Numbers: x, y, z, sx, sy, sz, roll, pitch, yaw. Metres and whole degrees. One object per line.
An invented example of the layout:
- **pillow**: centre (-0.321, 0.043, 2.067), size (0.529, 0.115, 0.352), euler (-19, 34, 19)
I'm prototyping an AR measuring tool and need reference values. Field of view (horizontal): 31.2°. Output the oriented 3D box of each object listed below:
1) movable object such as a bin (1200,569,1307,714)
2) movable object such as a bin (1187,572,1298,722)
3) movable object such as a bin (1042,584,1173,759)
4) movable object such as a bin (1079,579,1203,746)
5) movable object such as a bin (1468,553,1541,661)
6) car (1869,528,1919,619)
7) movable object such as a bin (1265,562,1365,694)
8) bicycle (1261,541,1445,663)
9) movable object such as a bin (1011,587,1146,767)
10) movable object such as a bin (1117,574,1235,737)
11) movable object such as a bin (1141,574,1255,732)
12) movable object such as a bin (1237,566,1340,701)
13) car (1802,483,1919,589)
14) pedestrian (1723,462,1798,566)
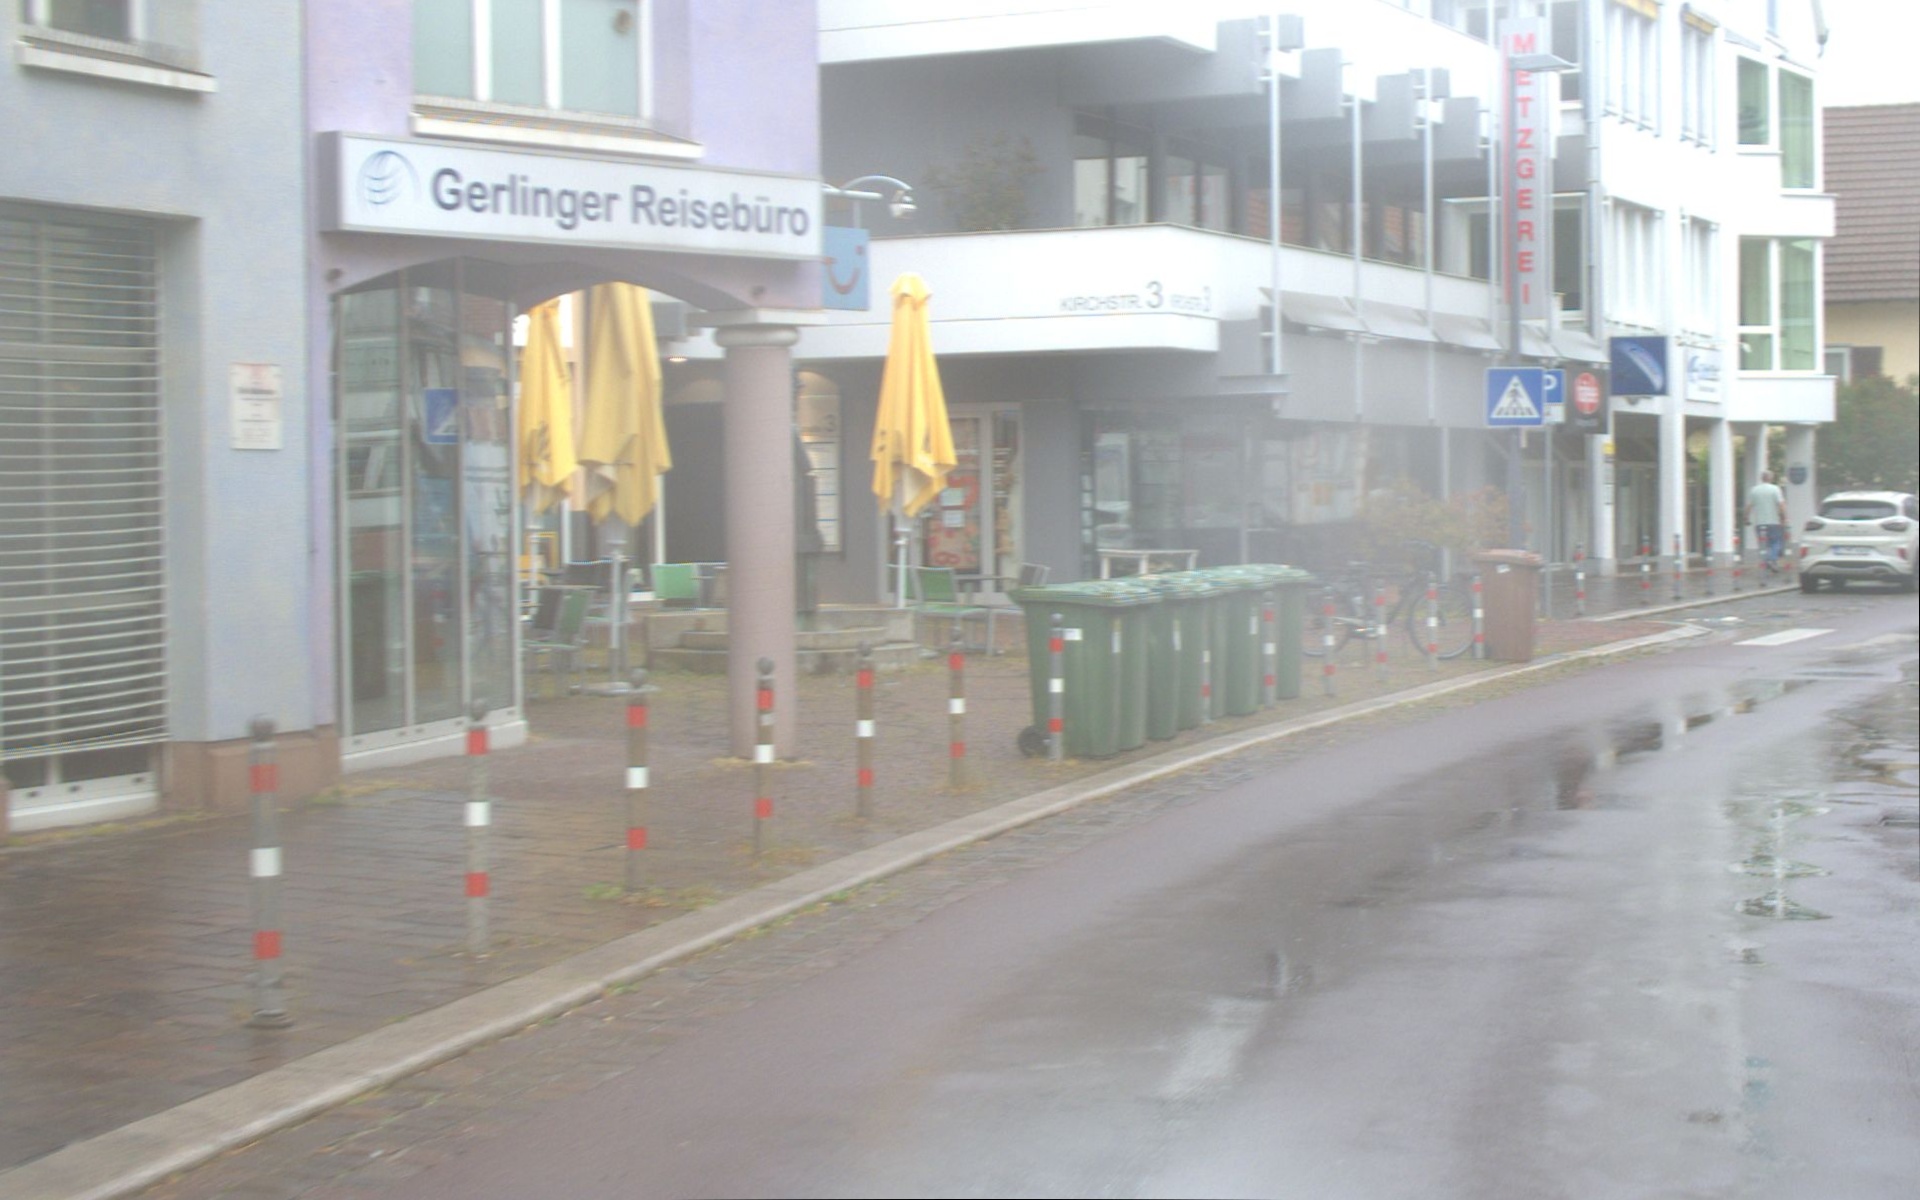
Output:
- **movable object such as a bin**: centre (2.238, 0.305, 26.194), size (0.687, 1.073, 0.669), euler (0, 1, 17)
- **movable object such as a bin**: centre (2.083, 0.336, 25.327), size (0.687, 1.070, 0.669), euler (0, 1, 17)
- **movable object such as a bin**: centre (0.954, 0.449, 22.084), size (0.687, 1.083, 0.712), euler (0, 1, 17)
- **movable object such as a bin**: centre (1.210, 0.406, 22.963), size (0.687, 1.077, 0.669), euler (0, 1, 17)
- **movable object such as a bin**: centre (5.248, 0.062, 33.167), size (0.686, 1.016, 0.632), euler (0, 1, 8)
- **car**: centre (16.987, -0.492, 58.763), size (1.833, 1.493, 4.757), euler (-1, 1, 27)
- **movable object such as a bin**: centre (2.868, 0.220, 27.769), size (0.687, 1.036, 0.669), euler (0, 1, 17)
- **bicycle**: centre (3.798, 0.018, 33.239), size (1.746, 1.160, 0.444), euler (1, 0, 6)
- **movable object such as a bin**: centre (0.743, 0.469, 21.366), size (0.687, 1.074, 0.676), euler (0, 1, 17)
- **movable object such as a bin**: centre (1.513, 0.376, 24.027), size (0.687, 1.101, 0.669), euler (0, 1, 17)
- **movable object such as a bin**: centre (1.714, 0.369, 24.719), size (0.687, 1.101, 0.669), euler (0, 1, 17)
- **movable object such as a bin**: centre (2.593, 0.257, 27.107), size (0.687, 1.038, 0.669), euler (0, 1, 17)
- **car**: centre (14.354, -0.958, 53.199), size (1.794, 1.545, 3.994), euler (1, 0, 25)
- **pedestrian**: centre (13.943, -1.501, 59.853), size (1.036, 1.800, 1.115), euler (1, 2, 26)
